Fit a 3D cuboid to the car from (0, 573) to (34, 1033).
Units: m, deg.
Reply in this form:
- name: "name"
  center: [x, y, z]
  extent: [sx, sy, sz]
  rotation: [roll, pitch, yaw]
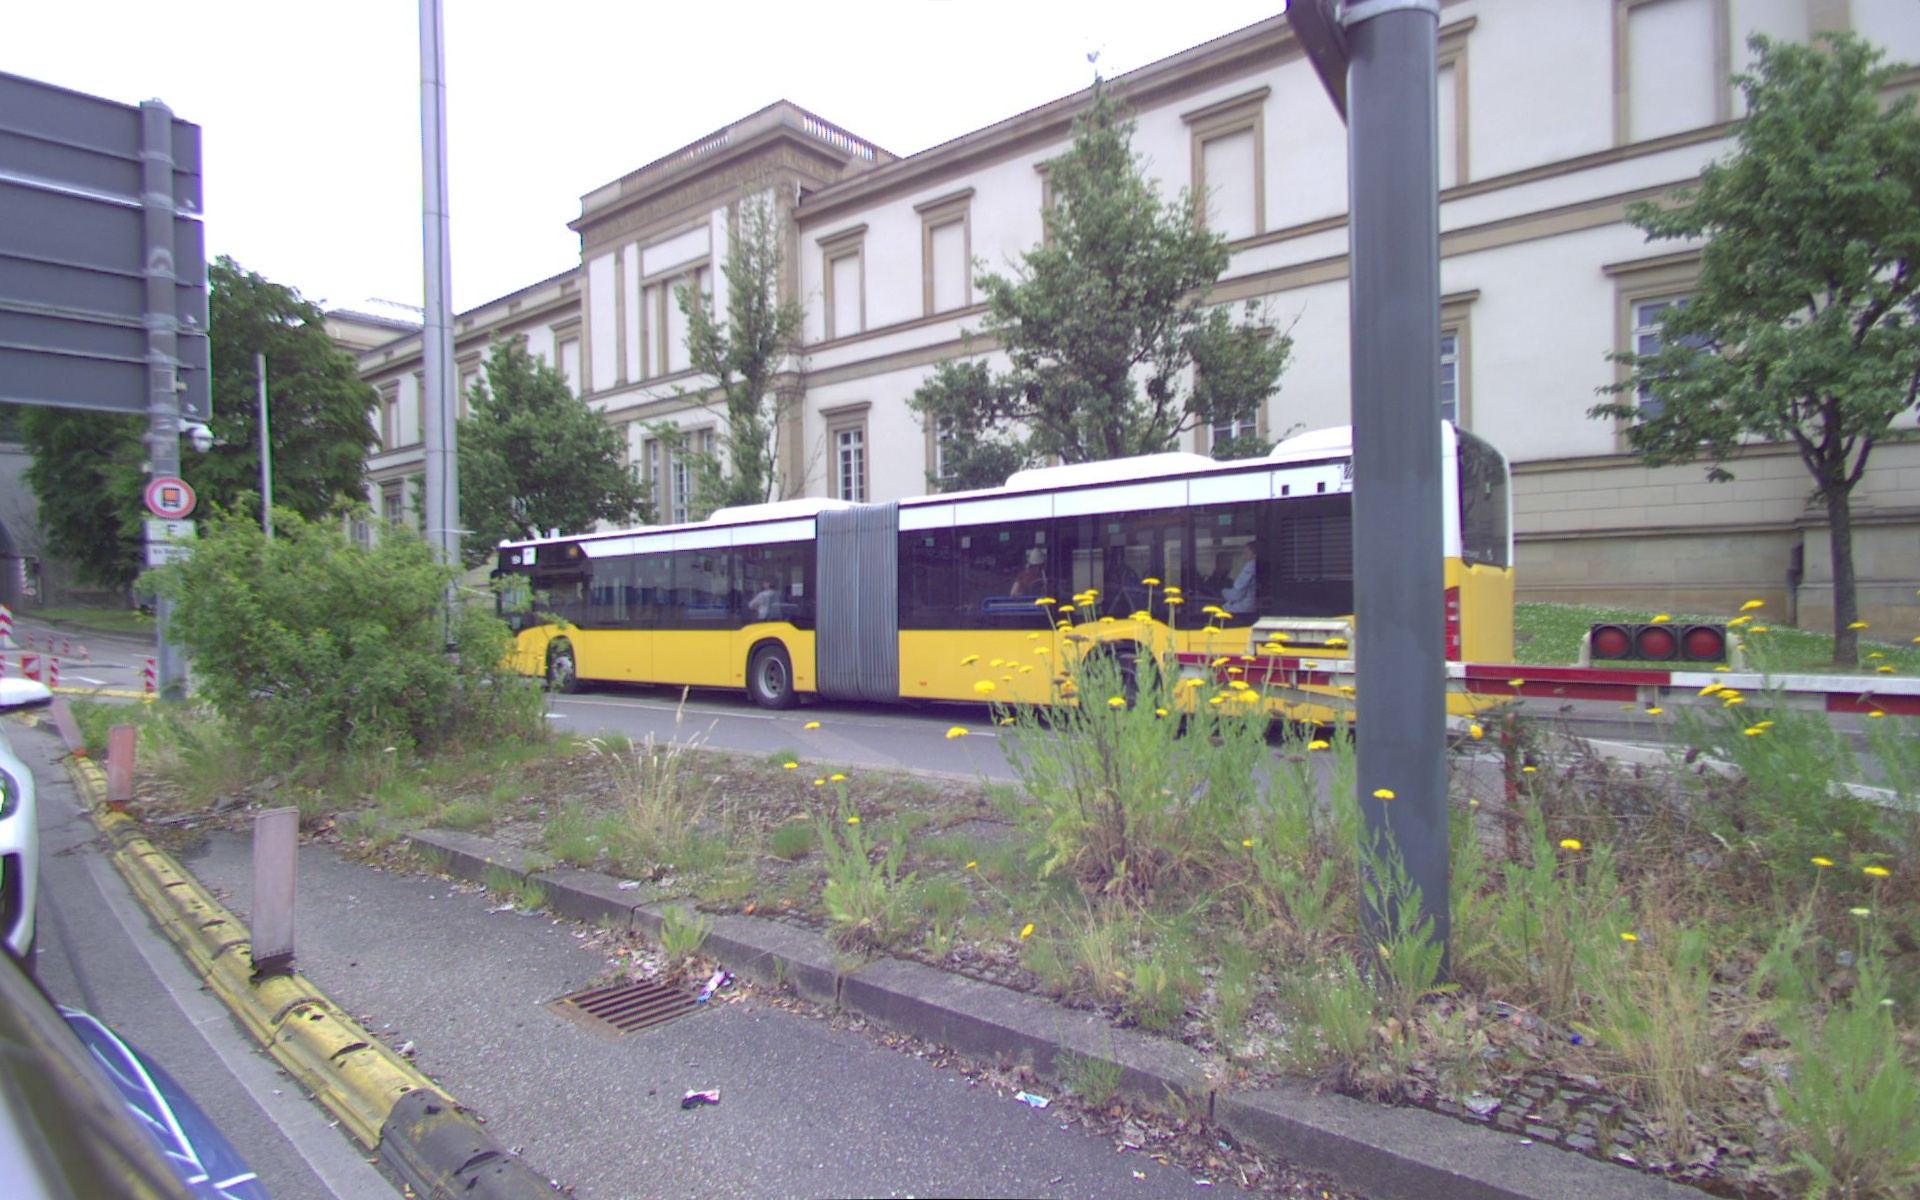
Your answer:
- name: "car"
  center: [-5.234, 0.716, 4.210]
  extent: [3.911, 1.568, 1.733]
  rotation: [-1, 0, 43]

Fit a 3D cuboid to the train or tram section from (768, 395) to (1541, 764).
- name: "train or tram section"
  center: [1.626, -0.066, 12.551]
  extent: [9.330, 3.094, 2.666]
  rotation: [-2, -2, 41]

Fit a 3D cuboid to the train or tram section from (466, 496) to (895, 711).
- name: "train or tram section"
  center: [-5.533, 0.156, 18.566]
  extent: [9.366, 3.094, 2.667]
  rotation: [-1, -2, 39]
